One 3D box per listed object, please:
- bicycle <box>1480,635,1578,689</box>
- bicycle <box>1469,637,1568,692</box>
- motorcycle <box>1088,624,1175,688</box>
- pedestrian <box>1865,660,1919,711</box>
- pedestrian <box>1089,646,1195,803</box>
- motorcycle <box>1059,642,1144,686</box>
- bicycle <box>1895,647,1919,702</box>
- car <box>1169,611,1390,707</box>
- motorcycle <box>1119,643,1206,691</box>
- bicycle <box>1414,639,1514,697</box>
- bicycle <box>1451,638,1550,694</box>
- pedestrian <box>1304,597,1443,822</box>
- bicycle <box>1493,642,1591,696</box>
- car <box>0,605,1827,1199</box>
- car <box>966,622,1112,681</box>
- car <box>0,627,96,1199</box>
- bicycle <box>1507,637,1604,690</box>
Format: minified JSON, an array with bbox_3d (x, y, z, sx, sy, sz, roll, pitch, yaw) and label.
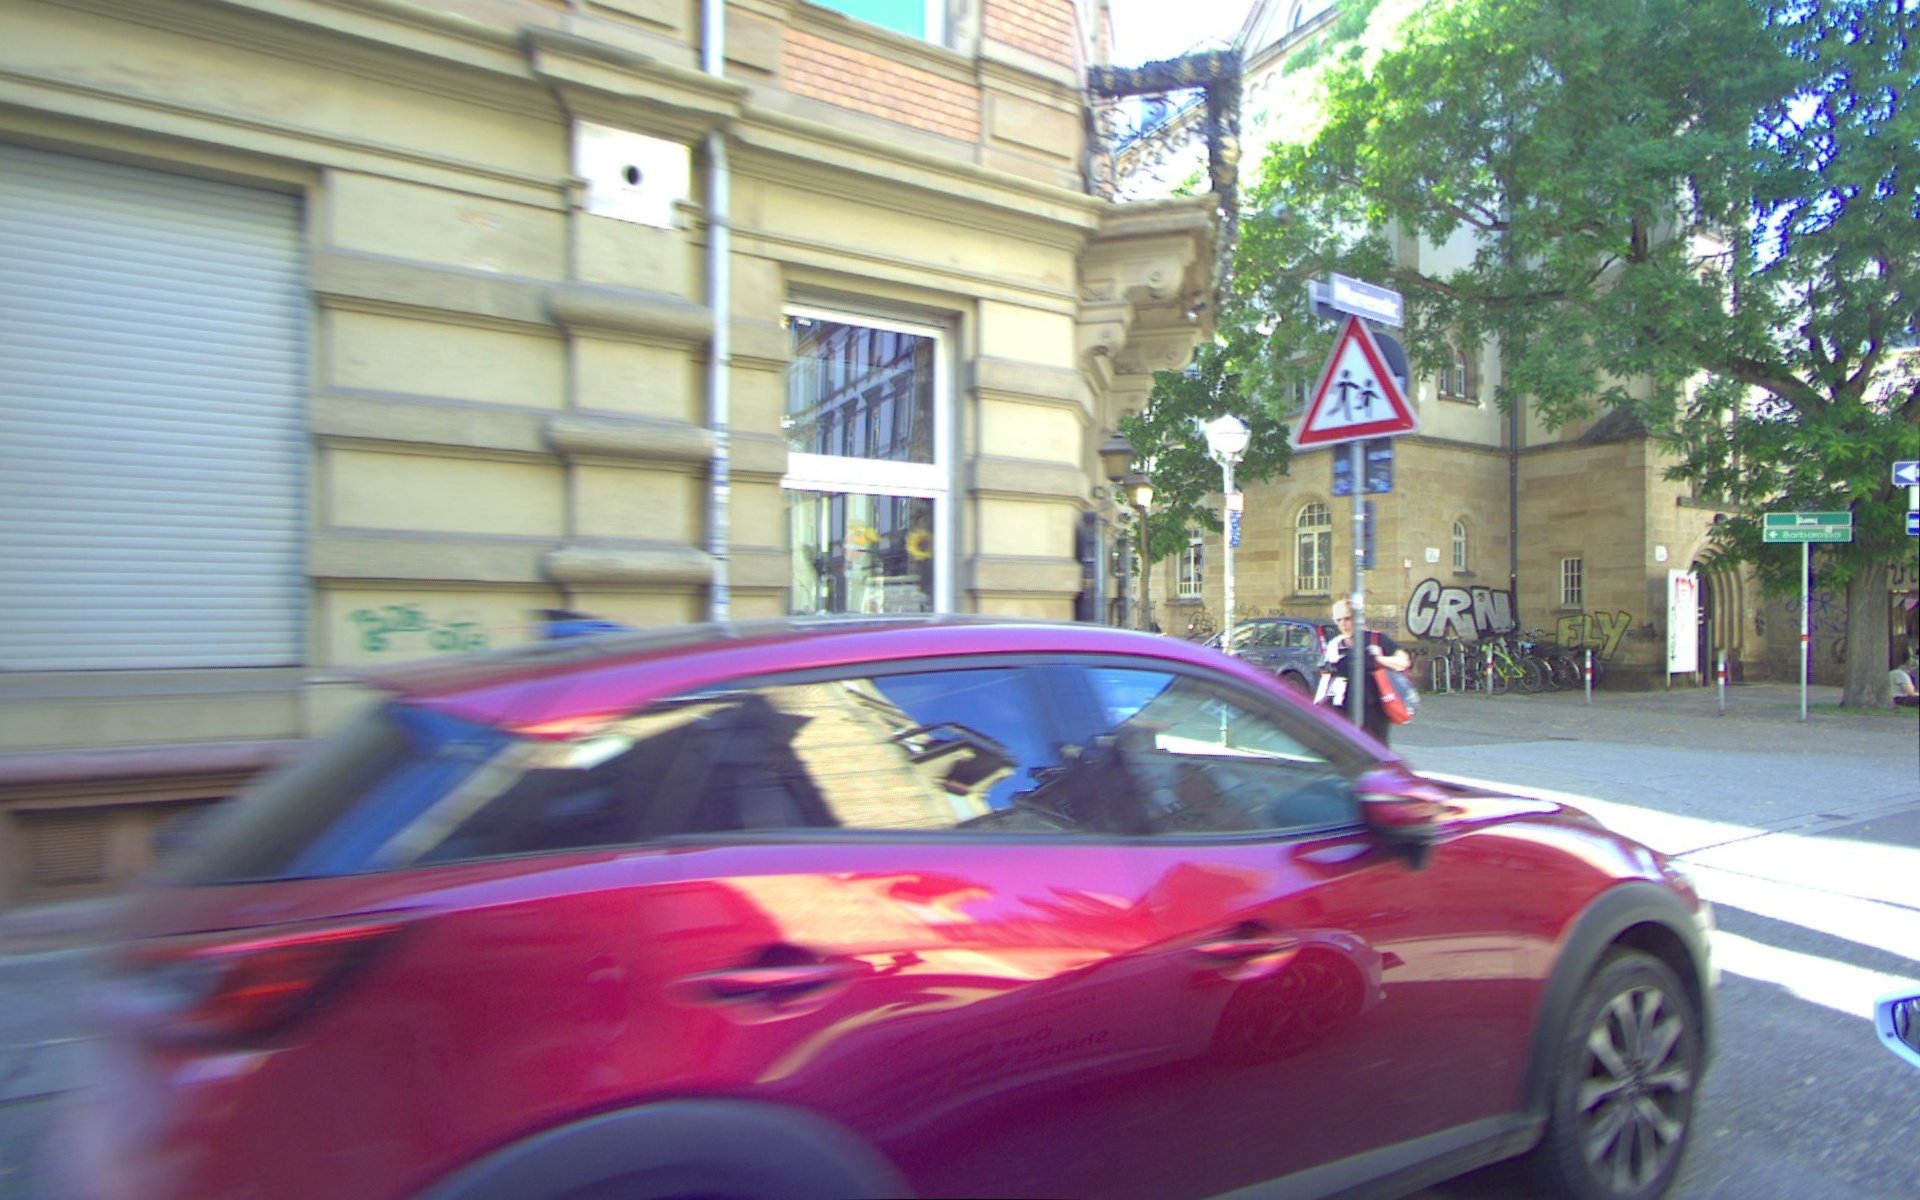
[{"bbox_3d":[11.763,1.258,20.834,0.473,1.068,1.767,0,-1,-30],"label":"bicycle"},{"bbox_3d":[11.409,1.303,20.581,0.473,1.068,1.767,0,-1,-30],"label":"bicycle"},{"bbox_3d":[4.001,1.270,23.407,2.080,1.439,0.656,1,-1,-31],"label":"motorcycle"},{"bbox_3d":[15.590,1.403,16.563,0.904,0.788,0.700,-1,-2,37],"label":"pedestrian"},{"bbox_3d":[1.453,0.981,8.117,0.733,1.193,0.669,0,0,0],"label":"pedestrian"},{"bbox_3d":[3.402,1.515,24.129,2.080,1.004,0.656,1,-1,-31],"label":"motorcycle"},{"bbox_3d":[17.383,1.330,17.242,0.814,0.935,1.758,0,1,-21],"label":"bicycle"},{"bbox_3d":[6.076,1.067,19.552,1.749,1.619,3.969,-1,0,-30],"label":"car"},{"bbox_3d":[4.512,1.473,22.311,2.080,0.988,0.566,1,-1,-31],"label":"motorcycle"},{"bbox_3d":[9.972,1.323,19.943,0.527,1.068,1.767,0,-1,-30],"label":"bicycle"},{"bbox_3d":[10.979,1.312,20.462,0.527,1.068,1.767,0,-1,-30],"label":"bicycle"},{"bbox_3d":[3.138,0.786,7.643,0.751,1.601,0.663,1,0,-31],"label":"pedestrian"},{"bbox_3d":[12.204,1.422,21.106,0.473,1.068,1.767,0,-1,-30],"label":"bicycle"},{"bbox_3d":[0.320,0.788,2.628,4.040,1.501,1.715,1,0,-30],"label":"car"},{"bbox_3d":[2.003,1.297,26.670,1.775,1.439,4.244,1,-1,-30],"label":"car"},{"bbox_3d":[-3.045,0.754,0.405,3.830,1.439,1.665,1,0,-31],"label":"car"},{"bbox_3d":[12.667,1.323,21.407,0.473,1.068,1.767,0,-1,-30],"label":"bicycle"}]
